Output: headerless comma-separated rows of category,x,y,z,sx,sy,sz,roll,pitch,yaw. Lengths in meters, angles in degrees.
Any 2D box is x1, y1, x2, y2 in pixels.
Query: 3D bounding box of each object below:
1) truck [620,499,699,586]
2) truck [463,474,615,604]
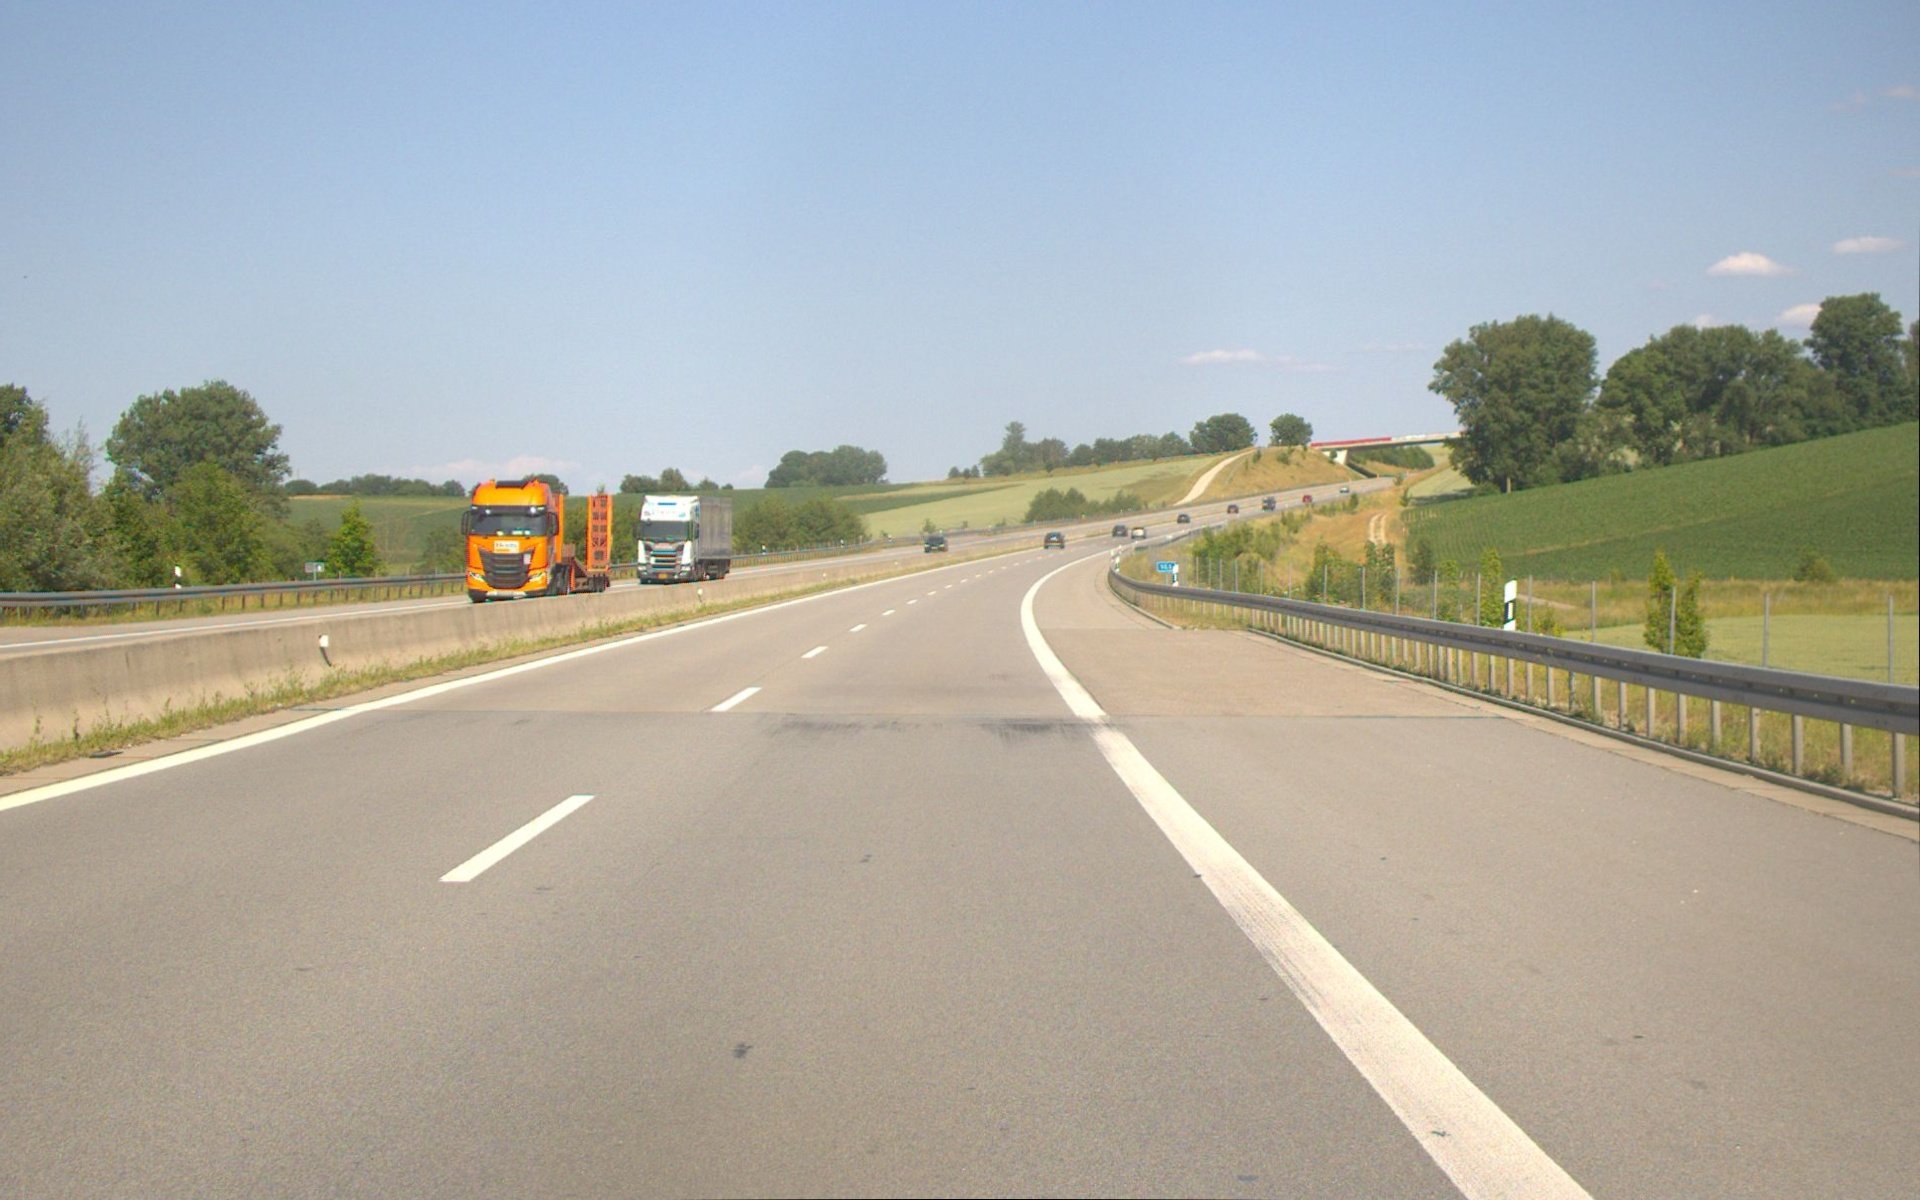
truck,-13.560,-2.587,155.352,2.861,3.860,5.983,0,1,1
truck,-13.876,-1.997,114.889,2.867,4.002,17.116,0,1,0
